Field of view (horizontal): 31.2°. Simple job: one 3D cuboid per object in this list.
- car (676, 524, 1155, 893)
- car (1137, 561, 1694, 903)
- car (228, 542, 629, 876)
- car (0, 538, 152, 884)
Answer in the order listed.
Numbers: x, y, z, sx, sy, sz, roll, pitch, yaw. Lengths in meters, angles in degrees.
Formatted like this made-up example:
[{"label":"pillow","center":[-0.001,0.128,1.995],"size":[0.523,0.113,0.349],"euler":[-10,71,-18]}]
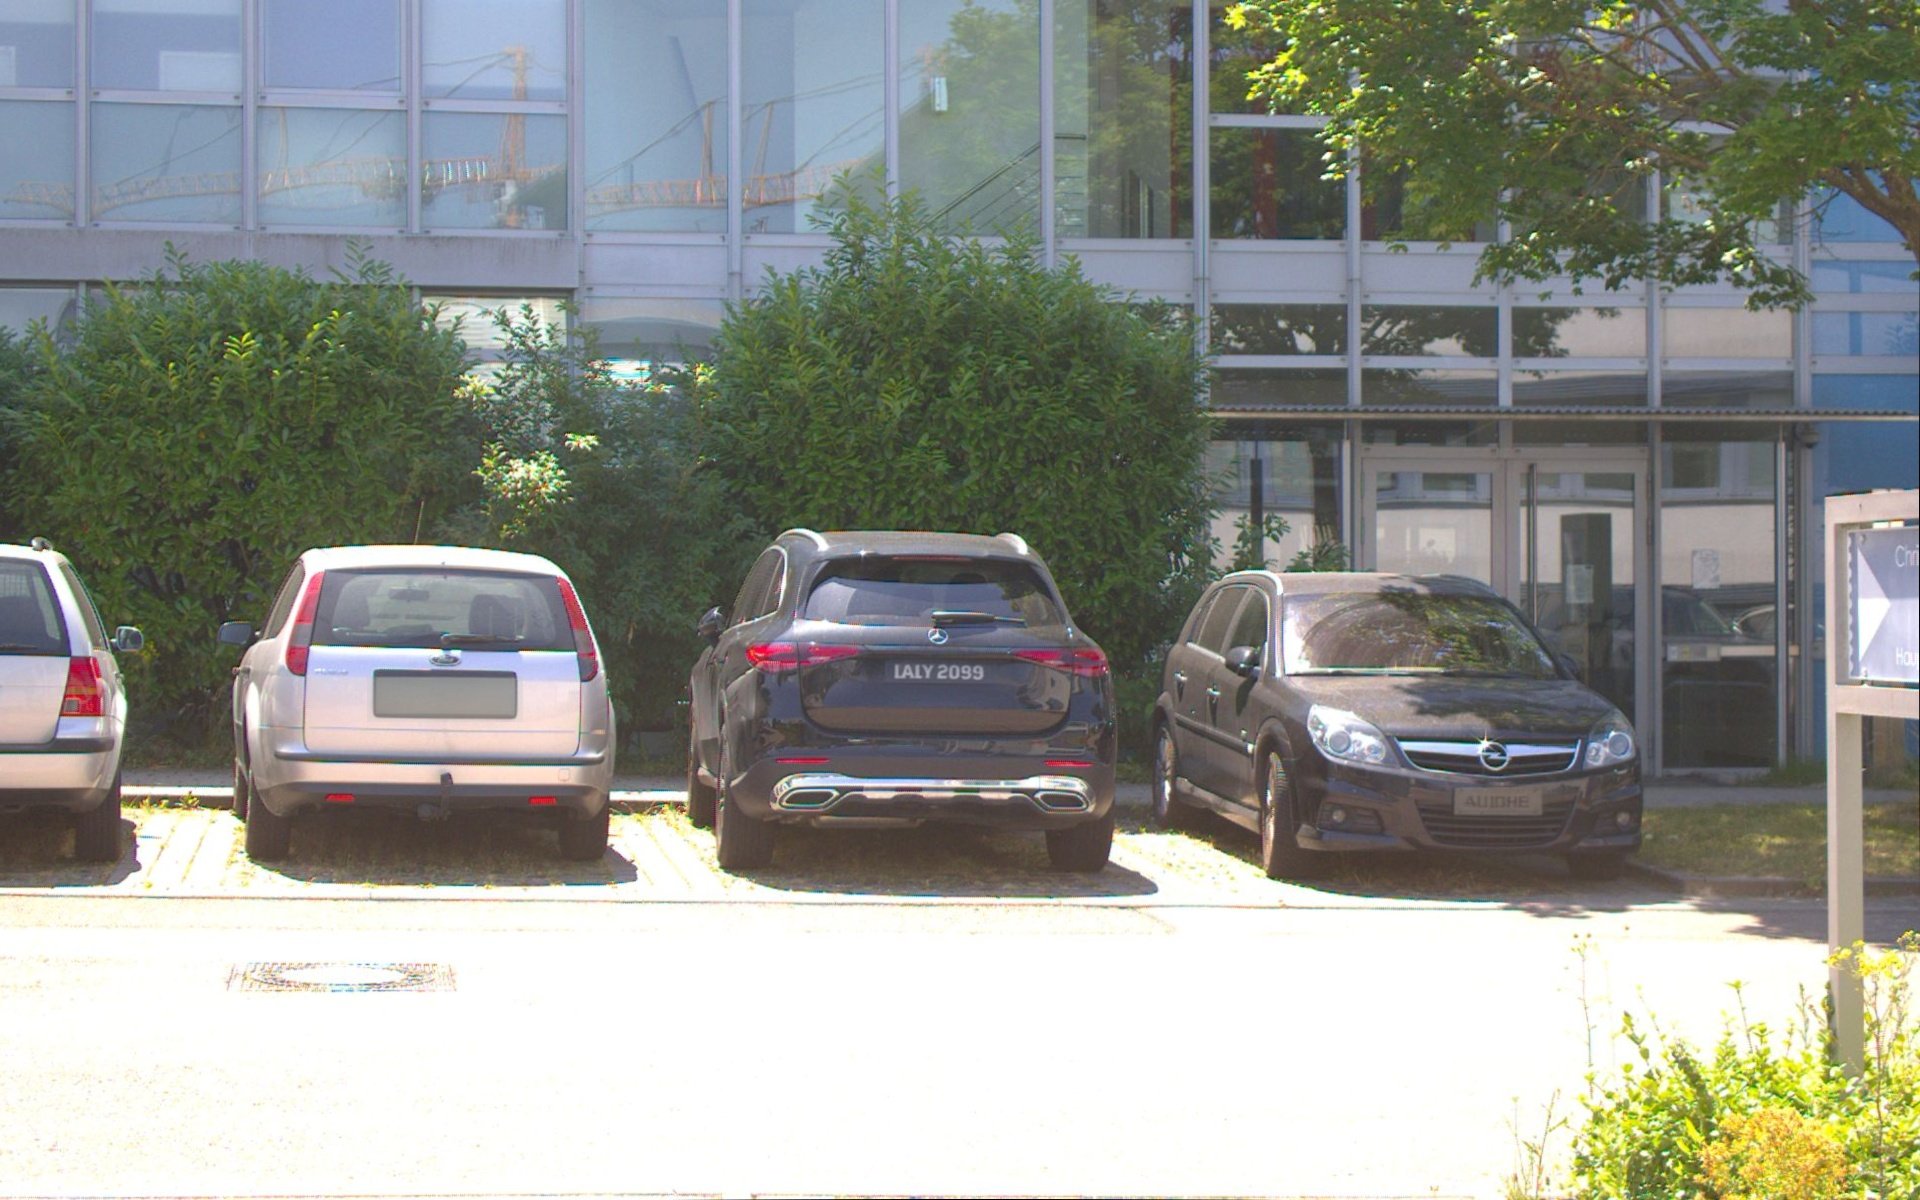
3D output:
[{"label":"car","center":[-0.357,0.454,17.521],"size":[1.926,1.605,3.987],"euler":[2,1,-8]},{"label":"car","center":[2.184,0.578,17.696],"size":[1.769,1.477,4.260],"euler":[1,1,-8]},{"label":"car","center":[-2.783,0.477,17.416],"size":[1.764,1.444,3.655],"euler":[2,1,-12]},{"label":"car","center":[-4.840,0.439,16.552],"size":[1.731,1.444,3.655],"euler":[2,1,-12]}]
